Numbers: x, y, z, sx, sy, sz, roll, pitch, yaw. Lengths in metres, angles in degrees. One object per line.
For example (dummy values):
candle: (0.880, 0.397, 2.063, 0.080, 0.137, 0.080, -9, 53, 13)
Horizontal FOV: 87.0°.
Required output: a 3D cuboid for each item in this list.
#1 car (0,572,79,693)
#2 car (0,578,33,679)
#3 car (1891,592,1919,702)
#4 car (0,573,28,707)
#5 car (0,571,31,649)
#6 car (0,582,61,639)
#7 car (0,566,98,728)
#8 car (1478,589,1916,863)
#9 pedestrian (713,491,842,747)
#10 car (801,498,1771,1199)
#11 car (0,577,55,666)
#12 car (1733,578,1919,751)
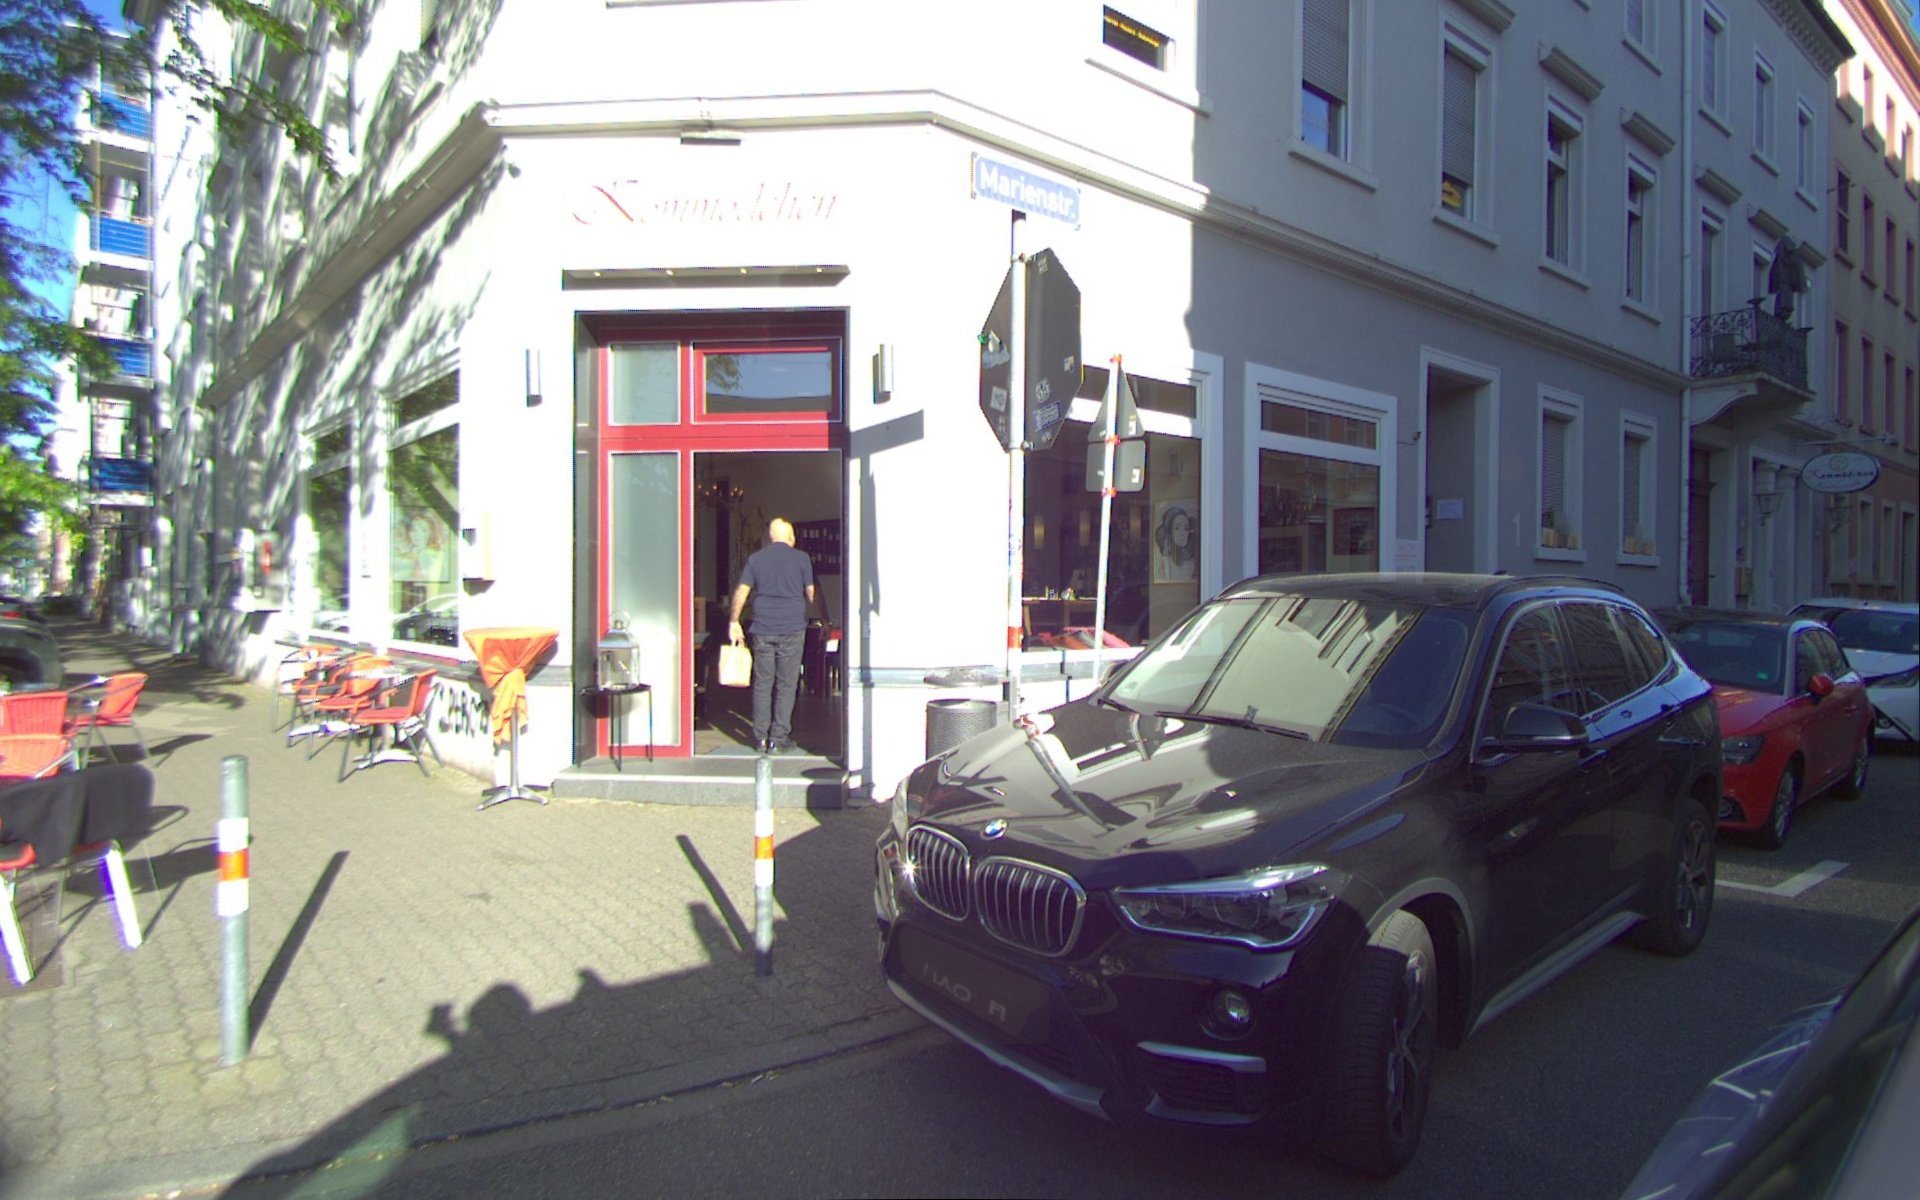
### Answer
car: (-13.924, 0.467, 12.652, 1.604, 1.574, 4.099, 1, 2, 26)
car: (-16.162, 0.479, 14.422, 1.608, 1.506, 4.089, 1, 3, 32)
car: (15.266, 0.633, 14.862, 4.113, 1.530, 1.683, 0, -1, -38)
car: (-12.486, 0.528, 10.384, 1.596, 1.574, 4.120, 1, 2, 13)
car: (-20.433, 0.233, 19.130, 1.613, 1.506, 4.076, 2, 3, 40)
car: (-26.710, 0.319, 26.836, 1.596, 1.506, 4.120, 1, 2, 13)
car: (-10.583, 0.492, 9.058, 1.601, 1.574, 4.107, 1, 2, 22)
car: (5.578, 0.705, 7.493, 3.883, 1.522, 1.649, 0, -1, -39)
pedestrian: (-1.351, 0.134, 7.646, 0.848, 1.822, 0.852, 1, 0, -3)
car: (1.603, 0.636, 4.105, 4.121, 1.683, 1.764, 0, -1, -39)
car: (-17.817, 0.409, 16.645, 1.607, 1.506, 4.091, 1, 2, 31)
car: (9.998, 0.603, 11.025, 3.720, 1.607, 1.640, 0, -1, -39)
